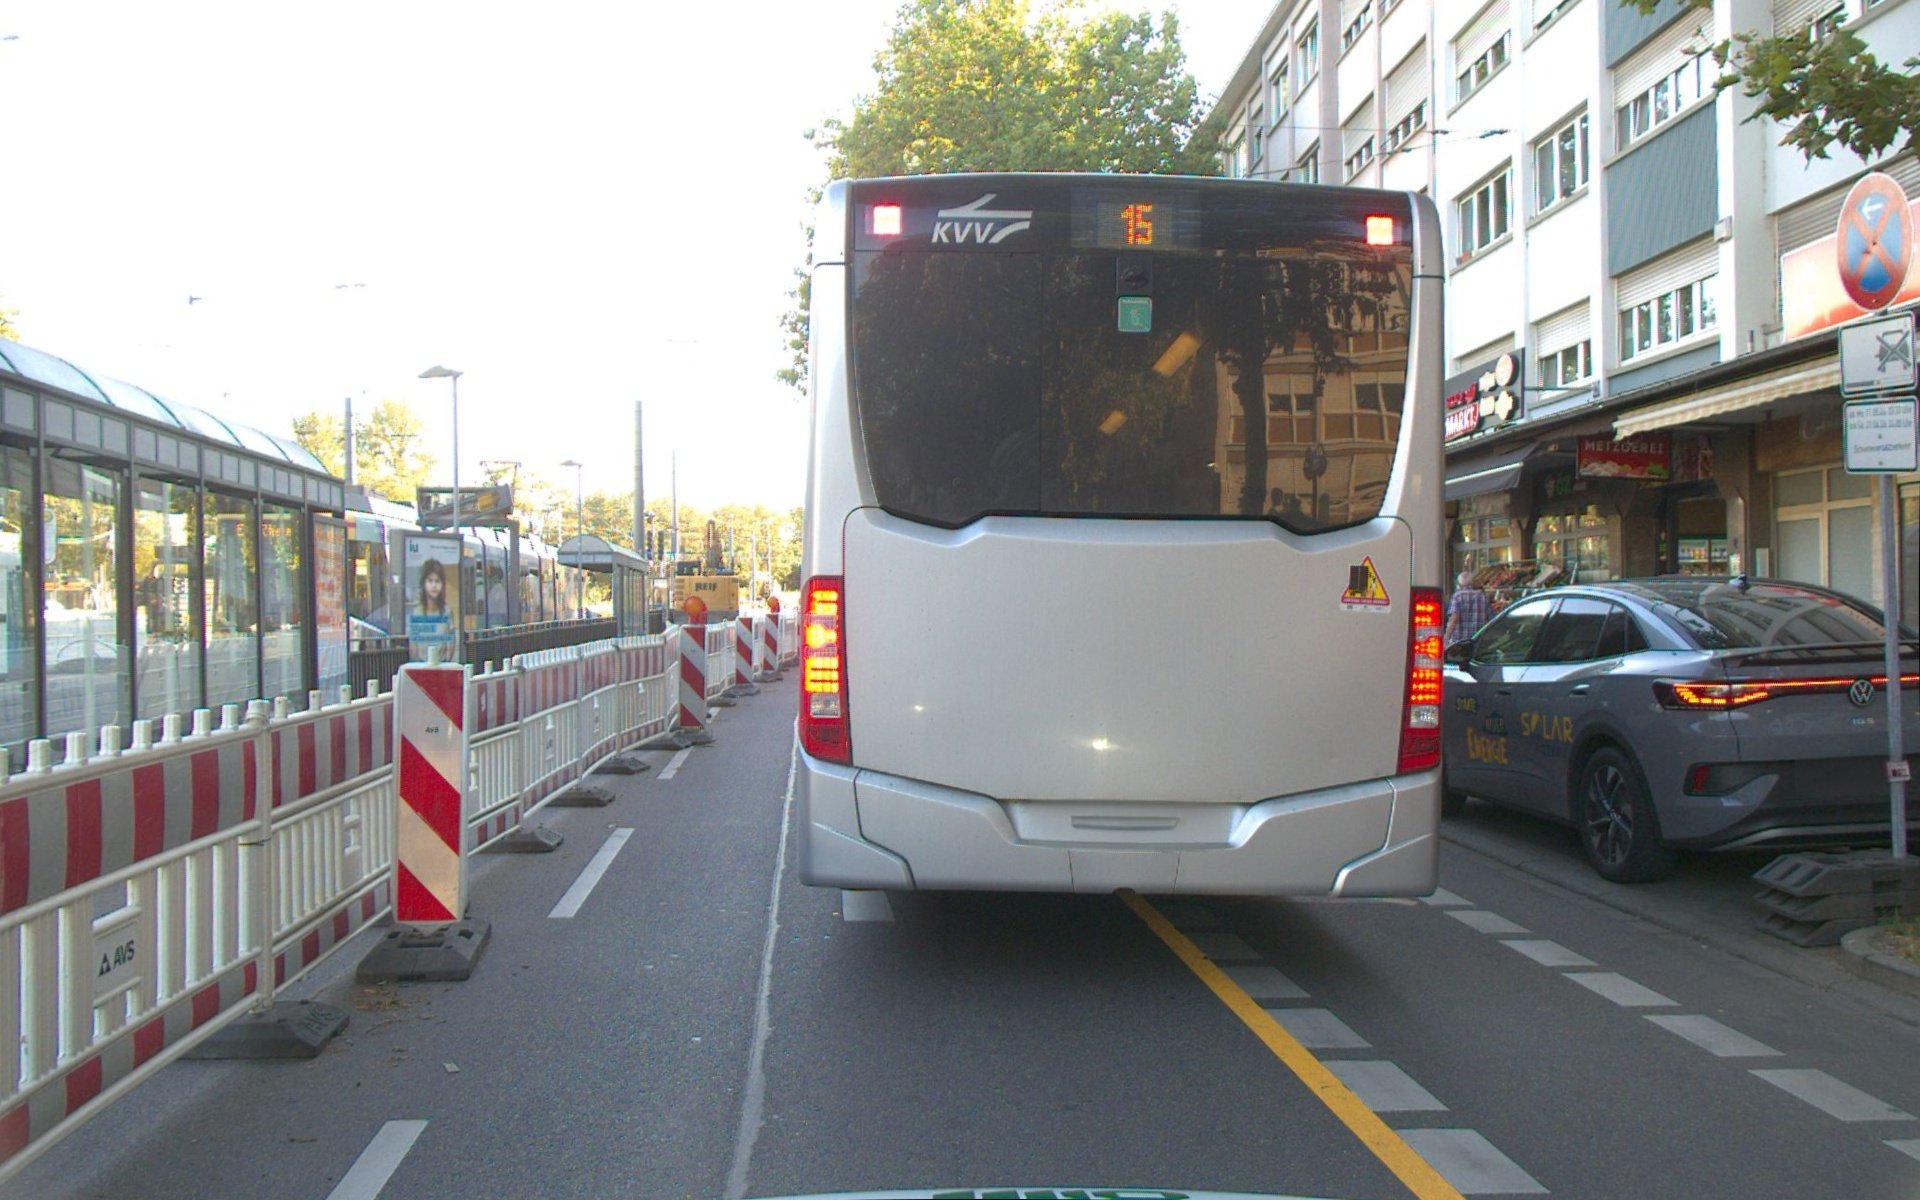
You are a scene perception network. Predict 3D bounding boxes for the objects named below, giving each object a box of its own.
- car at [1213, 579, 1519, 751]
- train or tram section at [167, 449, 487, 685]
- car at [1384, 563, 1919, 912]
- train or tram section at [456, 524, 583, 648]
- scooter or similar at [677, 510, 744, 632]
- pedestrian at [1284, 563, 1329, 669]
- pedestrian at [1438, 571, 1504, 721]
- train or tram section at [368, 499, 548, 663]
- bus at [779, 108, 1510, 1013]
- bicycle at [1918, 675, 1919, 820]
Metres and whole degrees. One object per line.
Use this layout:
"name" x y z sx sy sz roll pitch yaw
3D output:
"car" 4.361 0.622 18.529 1.955 1.609 4.363 -3 1 -5
"train or tram section" -11.416 -0.482 31.337 2.635 3.595 11.755 1 0 -6
"car" 4.358 0.636 10.232 1.955 1.609 4.363 -3 1 -5
"train or tram section" -14.229 -0.399 54.327 2.636 3.594 11.559 1 0 -8
"scooter or similar" -9.708 -1.072 64.678 2.422 4.549 5.962 0 0 -8
"pedestrian" 6.764 0.305 32.293 0.672 2.049 0.786 -1 0 -1
"pedestrian" 5.945 0.530 19.252 0.649 1.696 0.601 -2 -1 15
"train or tram section" -12.690 -0.411 42.901 2.636 3.621 11.560 1 0 -8
"bus" 0.612 -0.128 9.910 2.558 3.181 7.991 1 0 -1
"bicycle" 4.375 0.906 6.411 0.541 1.175 1.444 -1 0 3
